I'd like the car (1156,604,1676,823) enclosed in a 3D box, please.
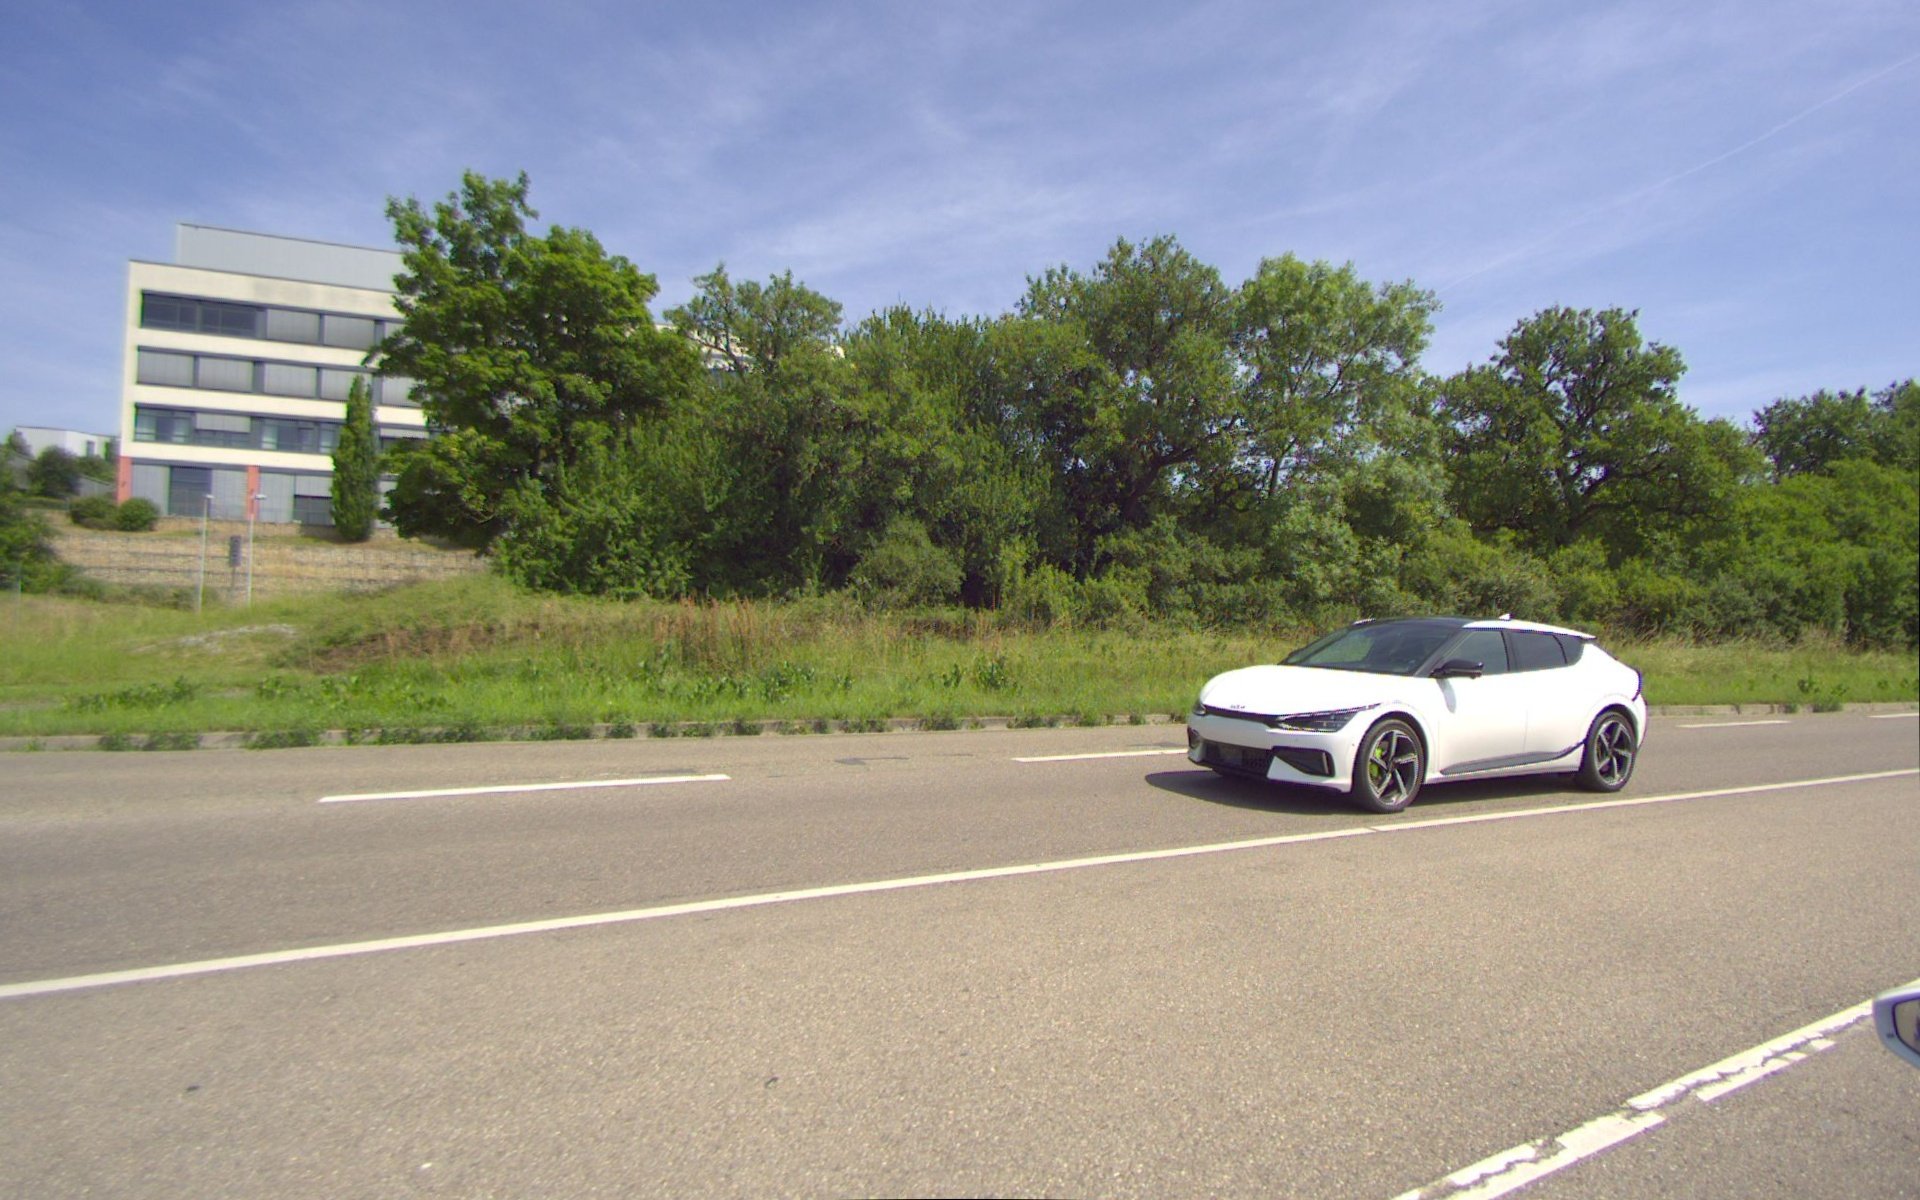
[{"bbox_3d":[4.236,0.901,9.221,4.569,1.569,1.930,2,0,-27],"label":"car"}]
